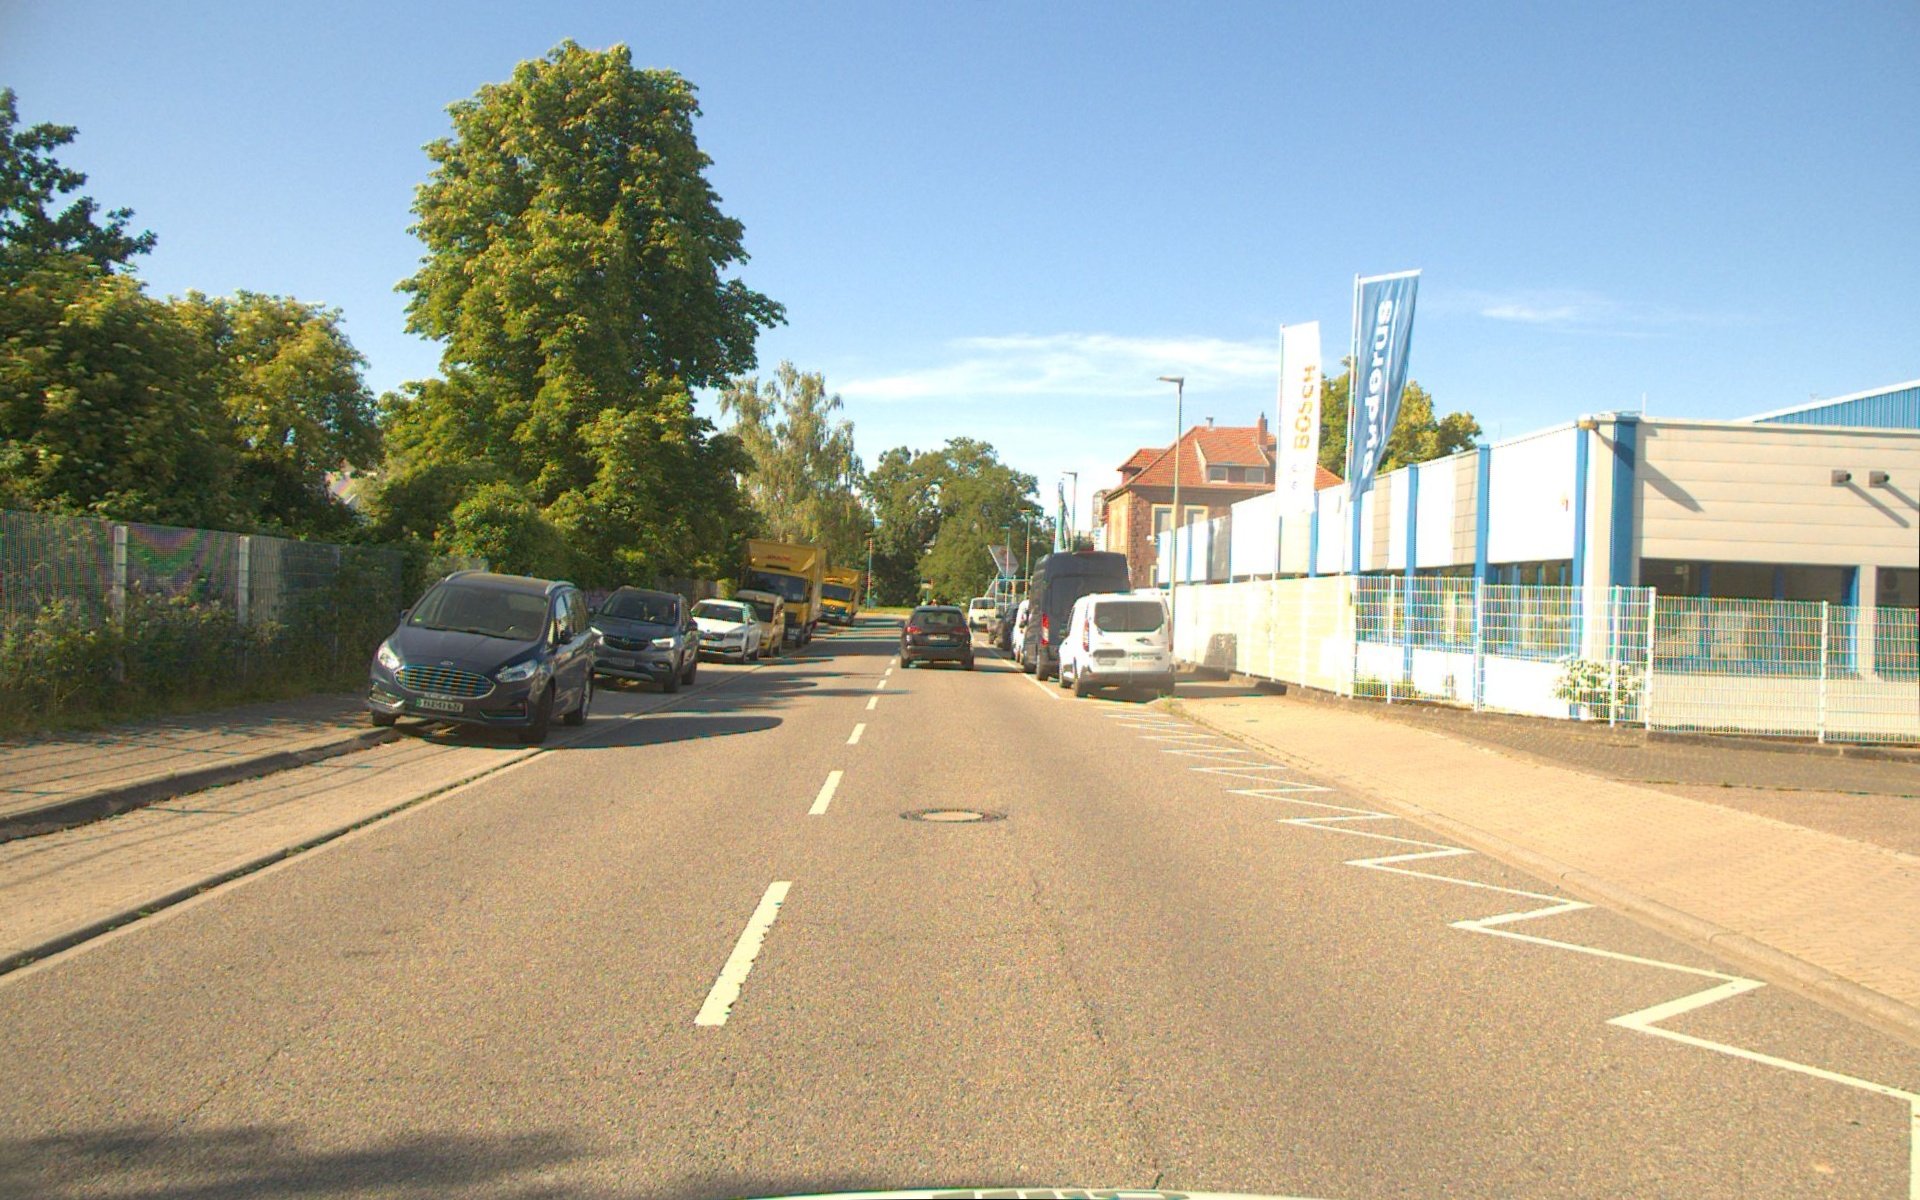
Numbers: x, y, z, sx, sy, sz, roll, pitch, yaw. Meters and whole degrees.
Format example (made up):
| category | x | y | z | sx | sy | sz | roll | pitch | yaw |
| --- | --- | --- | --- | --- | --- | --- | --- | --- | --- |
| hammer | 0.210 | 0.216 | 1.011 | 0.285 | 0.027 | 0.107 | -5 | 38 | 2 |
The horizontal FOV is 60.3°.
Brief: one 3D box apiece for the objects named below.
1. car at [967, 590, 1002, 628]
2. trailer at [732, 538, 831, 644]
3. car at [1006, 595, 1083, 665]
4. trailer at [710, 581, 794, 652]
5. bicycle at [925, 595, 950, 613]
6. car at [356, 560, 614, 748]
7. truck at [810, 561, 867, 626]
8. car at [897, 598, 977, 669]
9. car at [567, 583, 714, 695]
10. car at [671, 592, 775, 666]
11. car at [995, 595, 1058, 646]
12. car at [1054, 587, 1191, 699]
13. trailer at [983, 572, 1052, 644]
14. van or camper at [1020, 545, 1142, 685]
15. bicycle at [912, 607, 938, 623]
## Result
| category | x | y | z | sx | sy | sz | roll | pitch | yaw |
| --- | --- | --- | --- | --- | --- | --- | --- | --- | --- |
| car | 1.400 | 0.542 | 97.635 | 1.836 | 2.049 | 5.159 | 3 | 0 | -1 |
| trailer | -6.349 | -0.286 | 59.978 | 2.931 | 3.503 | 8.158 | 1 | 0 | -2 |
| car | 2.437 | 0.845 | 48.814 | 1.818 | 1.862 | 5.167 | 3 | 0 | -1 |
| trailer | -6.114 | 0.464 | 49.072 | 1.953 | 1.975 | 4.414 | 1 | 0 | -1 |
| bicycle | -1.780 | 0.328 | 130.023 | 0.797 | 1.290 | 2.230 | 3 | -1 | -35 |
| car | -5.294 | 0.534 | 19.105 | 1.757 | 1.760 | 4.798 | 5 | 0 | -4 |
| truck | -7.523 | -0.479 | 103.554 | 2.580 | 3.563 | 8.656 | 7 | 1 | -1 |
| car | -0.540 | 0.768 | 39.776 | 1.809 | 1.557 | 4.000 | 1 | 0 | 0 |
| car | -5.651 | 0.638 | 29.781 | 1.871 | 1.691 | 4.460 | 6 | 0 | -3 |
| car | -6.098 | 0.703 | 43.144 | 1.870 | 1.620 | 5.024 | 6 | 0 | 0 |
| car | 2.387 | 0.738 | 60.551 | 1.954 | 1.696 | 4.730 | 3 | 0 | -1 |
| car | 2.955 | 0.762 | 31.149 | 1.848 | 1.829 | 5.102 | 3 | 0 | -2 |
| trailer | 2.266 | 0.324 | 67.027 | 2.410 | 2.719 | 5.700 | 1 | 0 | -1 |
| van or camper | 2.644 | 0.323 | 37.585 | 2.097 | 2.807 | 6.160 | 3 | 0 | -1 |
| bicycle | -2.817 | 1.207 | 133.726 | 0.798 | 1.242 | 2.226 | 4 | -1 | -40 |
